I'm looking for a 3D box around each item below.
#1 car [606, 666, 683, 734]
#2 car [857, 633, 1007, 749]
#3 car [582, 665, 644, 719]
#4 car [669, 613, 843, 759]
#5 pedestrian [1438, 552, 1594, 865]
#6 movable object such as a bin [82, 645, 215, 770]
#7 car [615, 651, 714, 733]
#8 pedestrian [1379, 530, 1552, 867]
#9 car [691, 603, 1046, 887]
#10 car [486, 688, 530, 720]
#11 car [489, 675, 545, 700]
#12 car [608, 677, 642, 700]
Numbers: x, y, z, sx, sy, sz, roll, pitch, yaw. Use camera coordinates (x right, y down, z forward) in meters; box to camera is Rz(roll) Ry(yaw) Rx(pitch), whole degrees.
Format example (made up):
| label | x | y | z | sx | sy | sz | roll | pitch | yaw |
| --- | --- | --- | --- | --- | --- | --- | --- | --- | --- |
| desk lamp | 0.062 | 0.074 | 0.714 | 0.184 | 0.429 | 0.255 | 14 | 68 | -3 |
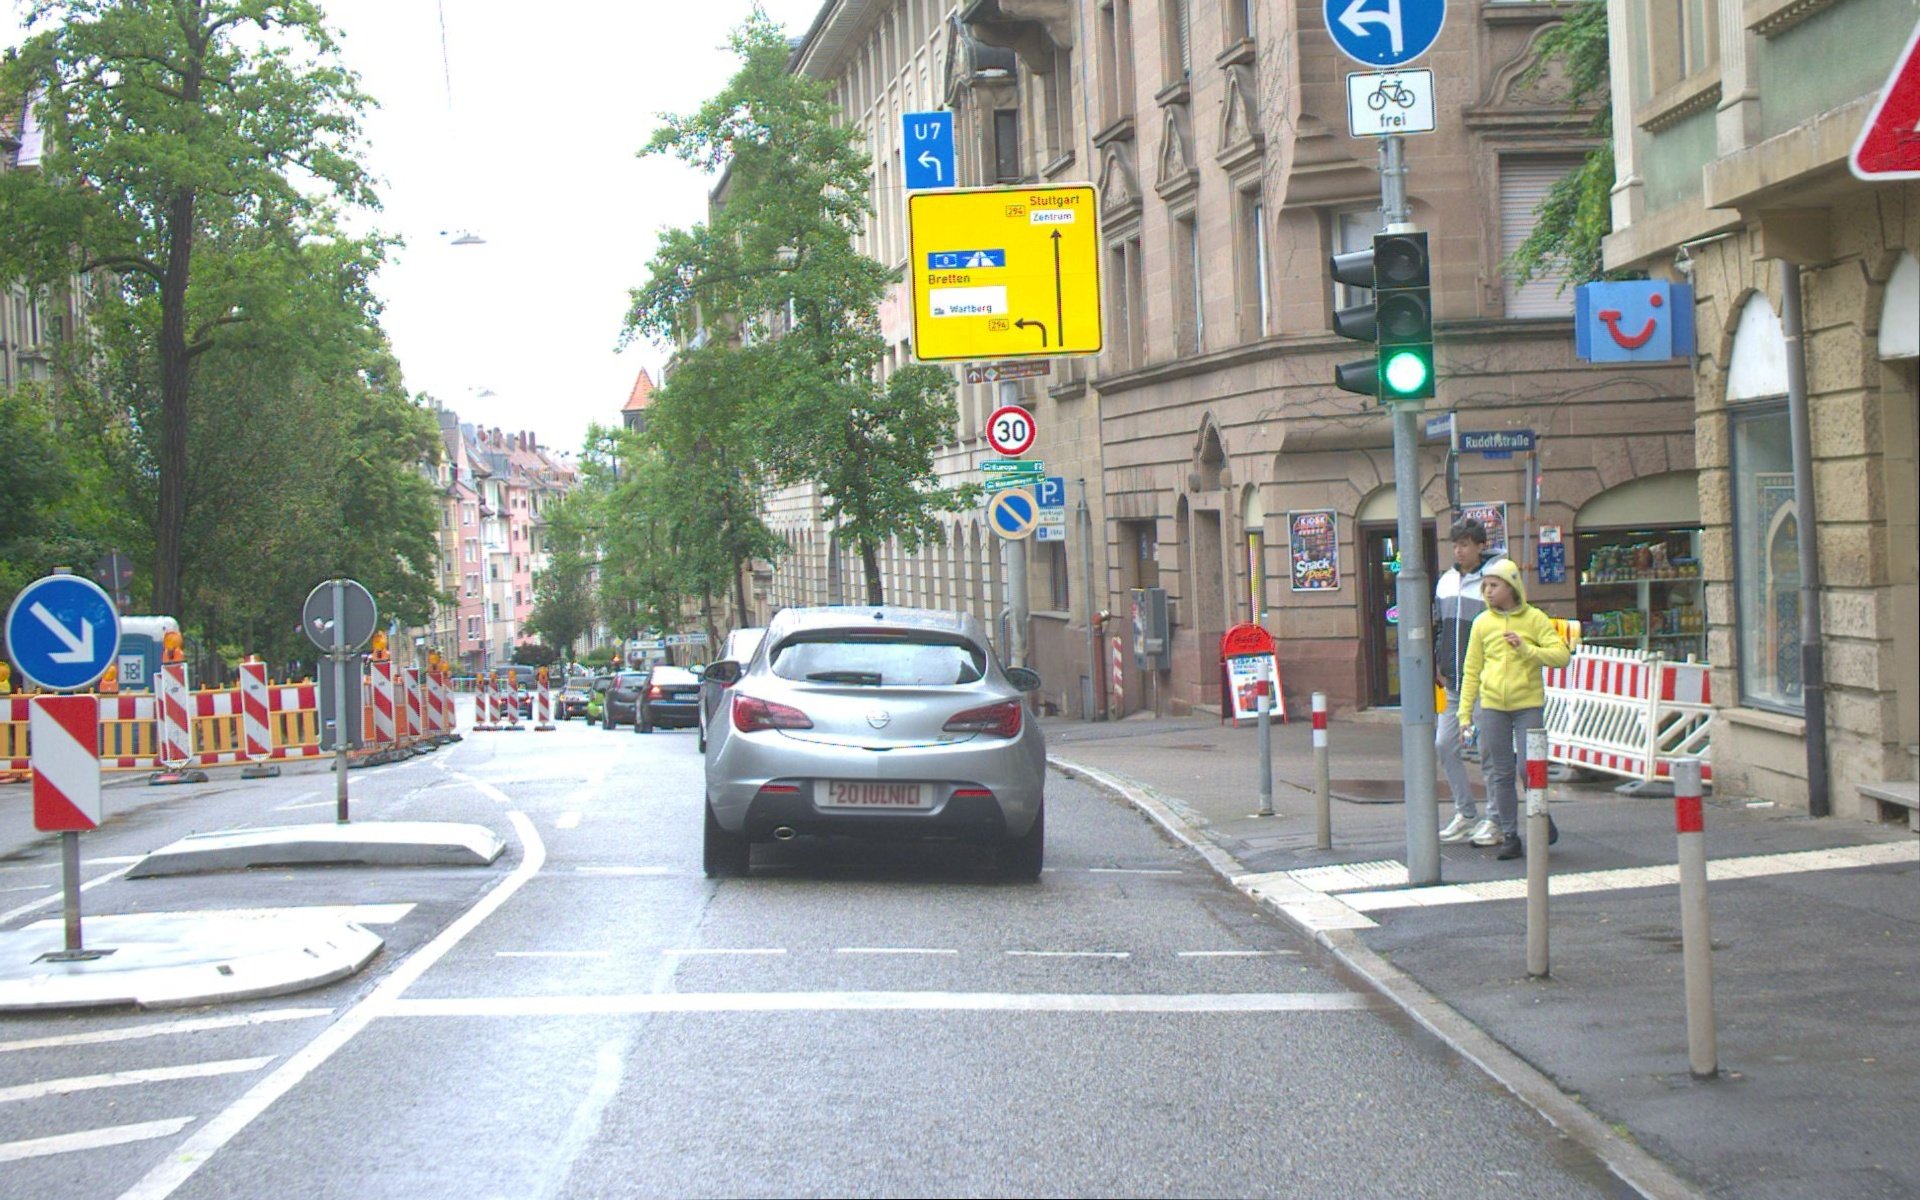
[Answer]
| label | x | y | z | sx | sy | sz | roll | pitch | yaw |
| --- | --- | --- | --- | --- | --- | --- | --- | --- | --- |
| car | -7.900 | 2.510 | 85.925 | 1.656 | 1.538 | 3.665 | -4 | -2 | -8 |
| car | -0.445 | 1.358 | 50.691 | 1.656 | 1.538 | 3.665 | -4 | -2 | -8 |
| car | -10.667 | 2.838 | 105.537 | 1.656 | 1.538 | 3.665 | -4 | -2 | -8 |
| car | -2.291 | 0.938 | 37.757 | 1.772 | 1.499 | 3.869 | 0 | -1 | -5 |
| pedestrian | 2.919 | 0.559 | 18.090 | 0.596 | 1.579 | 0.665 | -4 | 0 | -2 |
| movable object such as a bin | -15.766 | 2.085 | 66.893 | 1.993 | 2.292 | 2.815 | -2 | -1 | -4 |
| car | -6.107 | 1.905 | 70.749 | 1.656 | 1.538 | 3.666 | -4 | -2 | -9 |
| pedestrian | 2.758 | 0.530 | 18.812 | 0.718 | 1.768 | 0.665 | -4 | 0 | -2 |
| car | -0.471 | 0.789 | 19.613 | 1.811 | 1.445 | 3.869 | -1 | -1 | 0 |
| car | -22.351 | 5.171 | 169.888 | 1.993 | 1.496 | 4.000 | -1 | -2 | -10 |
| car | -32.390 | 6.378 | 251.326 | 3.986 | 1.744 | 2.000 | 1 | -2 | -7 |
| car | -25.150 | 6.642 | 258.392 | 1.994 | 1.678 | 3.999 | 1 | -2 | 3 |
